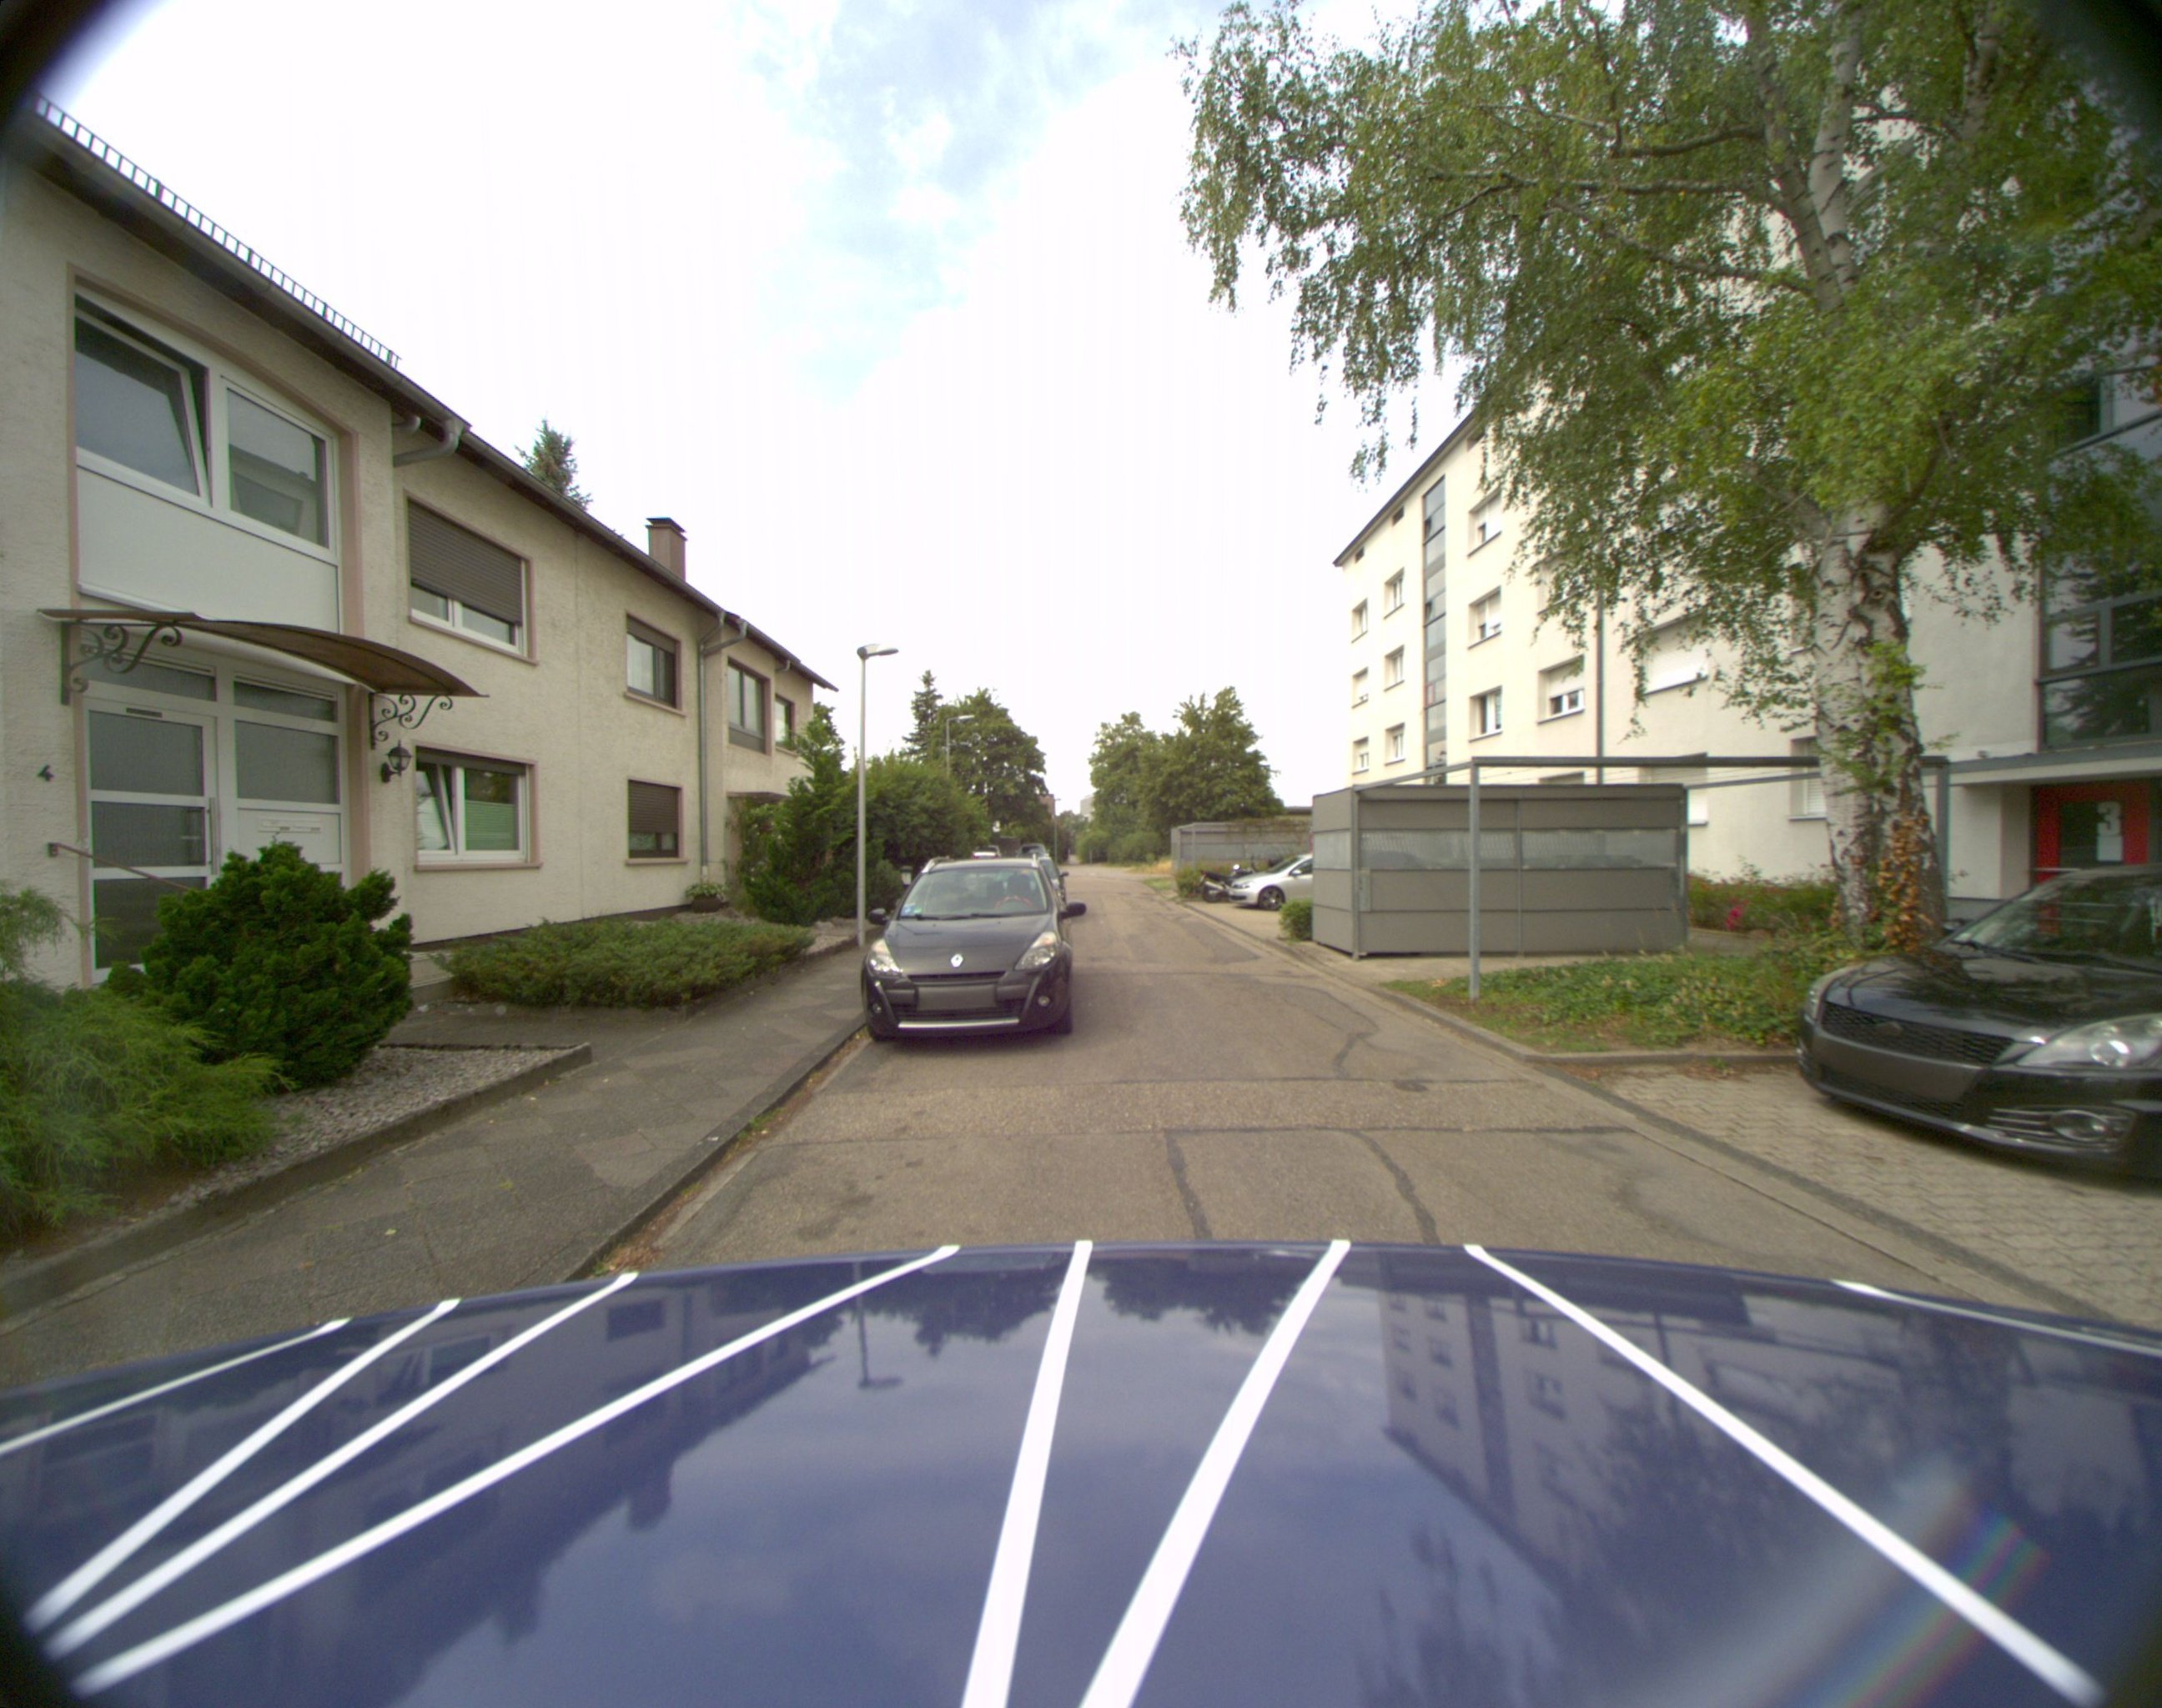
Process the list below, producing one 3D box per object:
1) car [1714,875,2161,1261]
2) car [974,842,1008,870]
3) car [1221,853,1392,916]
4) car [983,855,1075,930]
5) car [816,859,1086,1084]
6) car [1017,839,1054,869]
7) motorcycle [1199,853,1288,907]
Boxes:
[{"bbox_3d":[6.103,0.901,4.001,4.062,1.496,1.781,0,1,-1],"label":"car"},{"bbox_3d":[-5.121,0.076,43.759,1.705,1.458,3.997,0,2,-3],"label":"car"},{"bbox_3d":[5.934,0.775,20.371,3.997,1.477,1.902,1,1,1],"label":"car"},{"bbox_3d":[-1.167,0.781,17.692,1.834,1.449,4.188,-2,1,-3],"label":"car"},{"bbox_3d":[-1.006,0.831,7.416,1.834,1.449,4.188,-2,1,-3],"label":"car"},{"bbox_3d":[-2.587,-0.018,43.178,1.926,1.576,3.998,-2,1,-3],"label":"car"},{"bbox_3d":[4.685,0.746,22.024,2.383,1.456,0.714,1,1,-1],"label":"motorcycle"}]
